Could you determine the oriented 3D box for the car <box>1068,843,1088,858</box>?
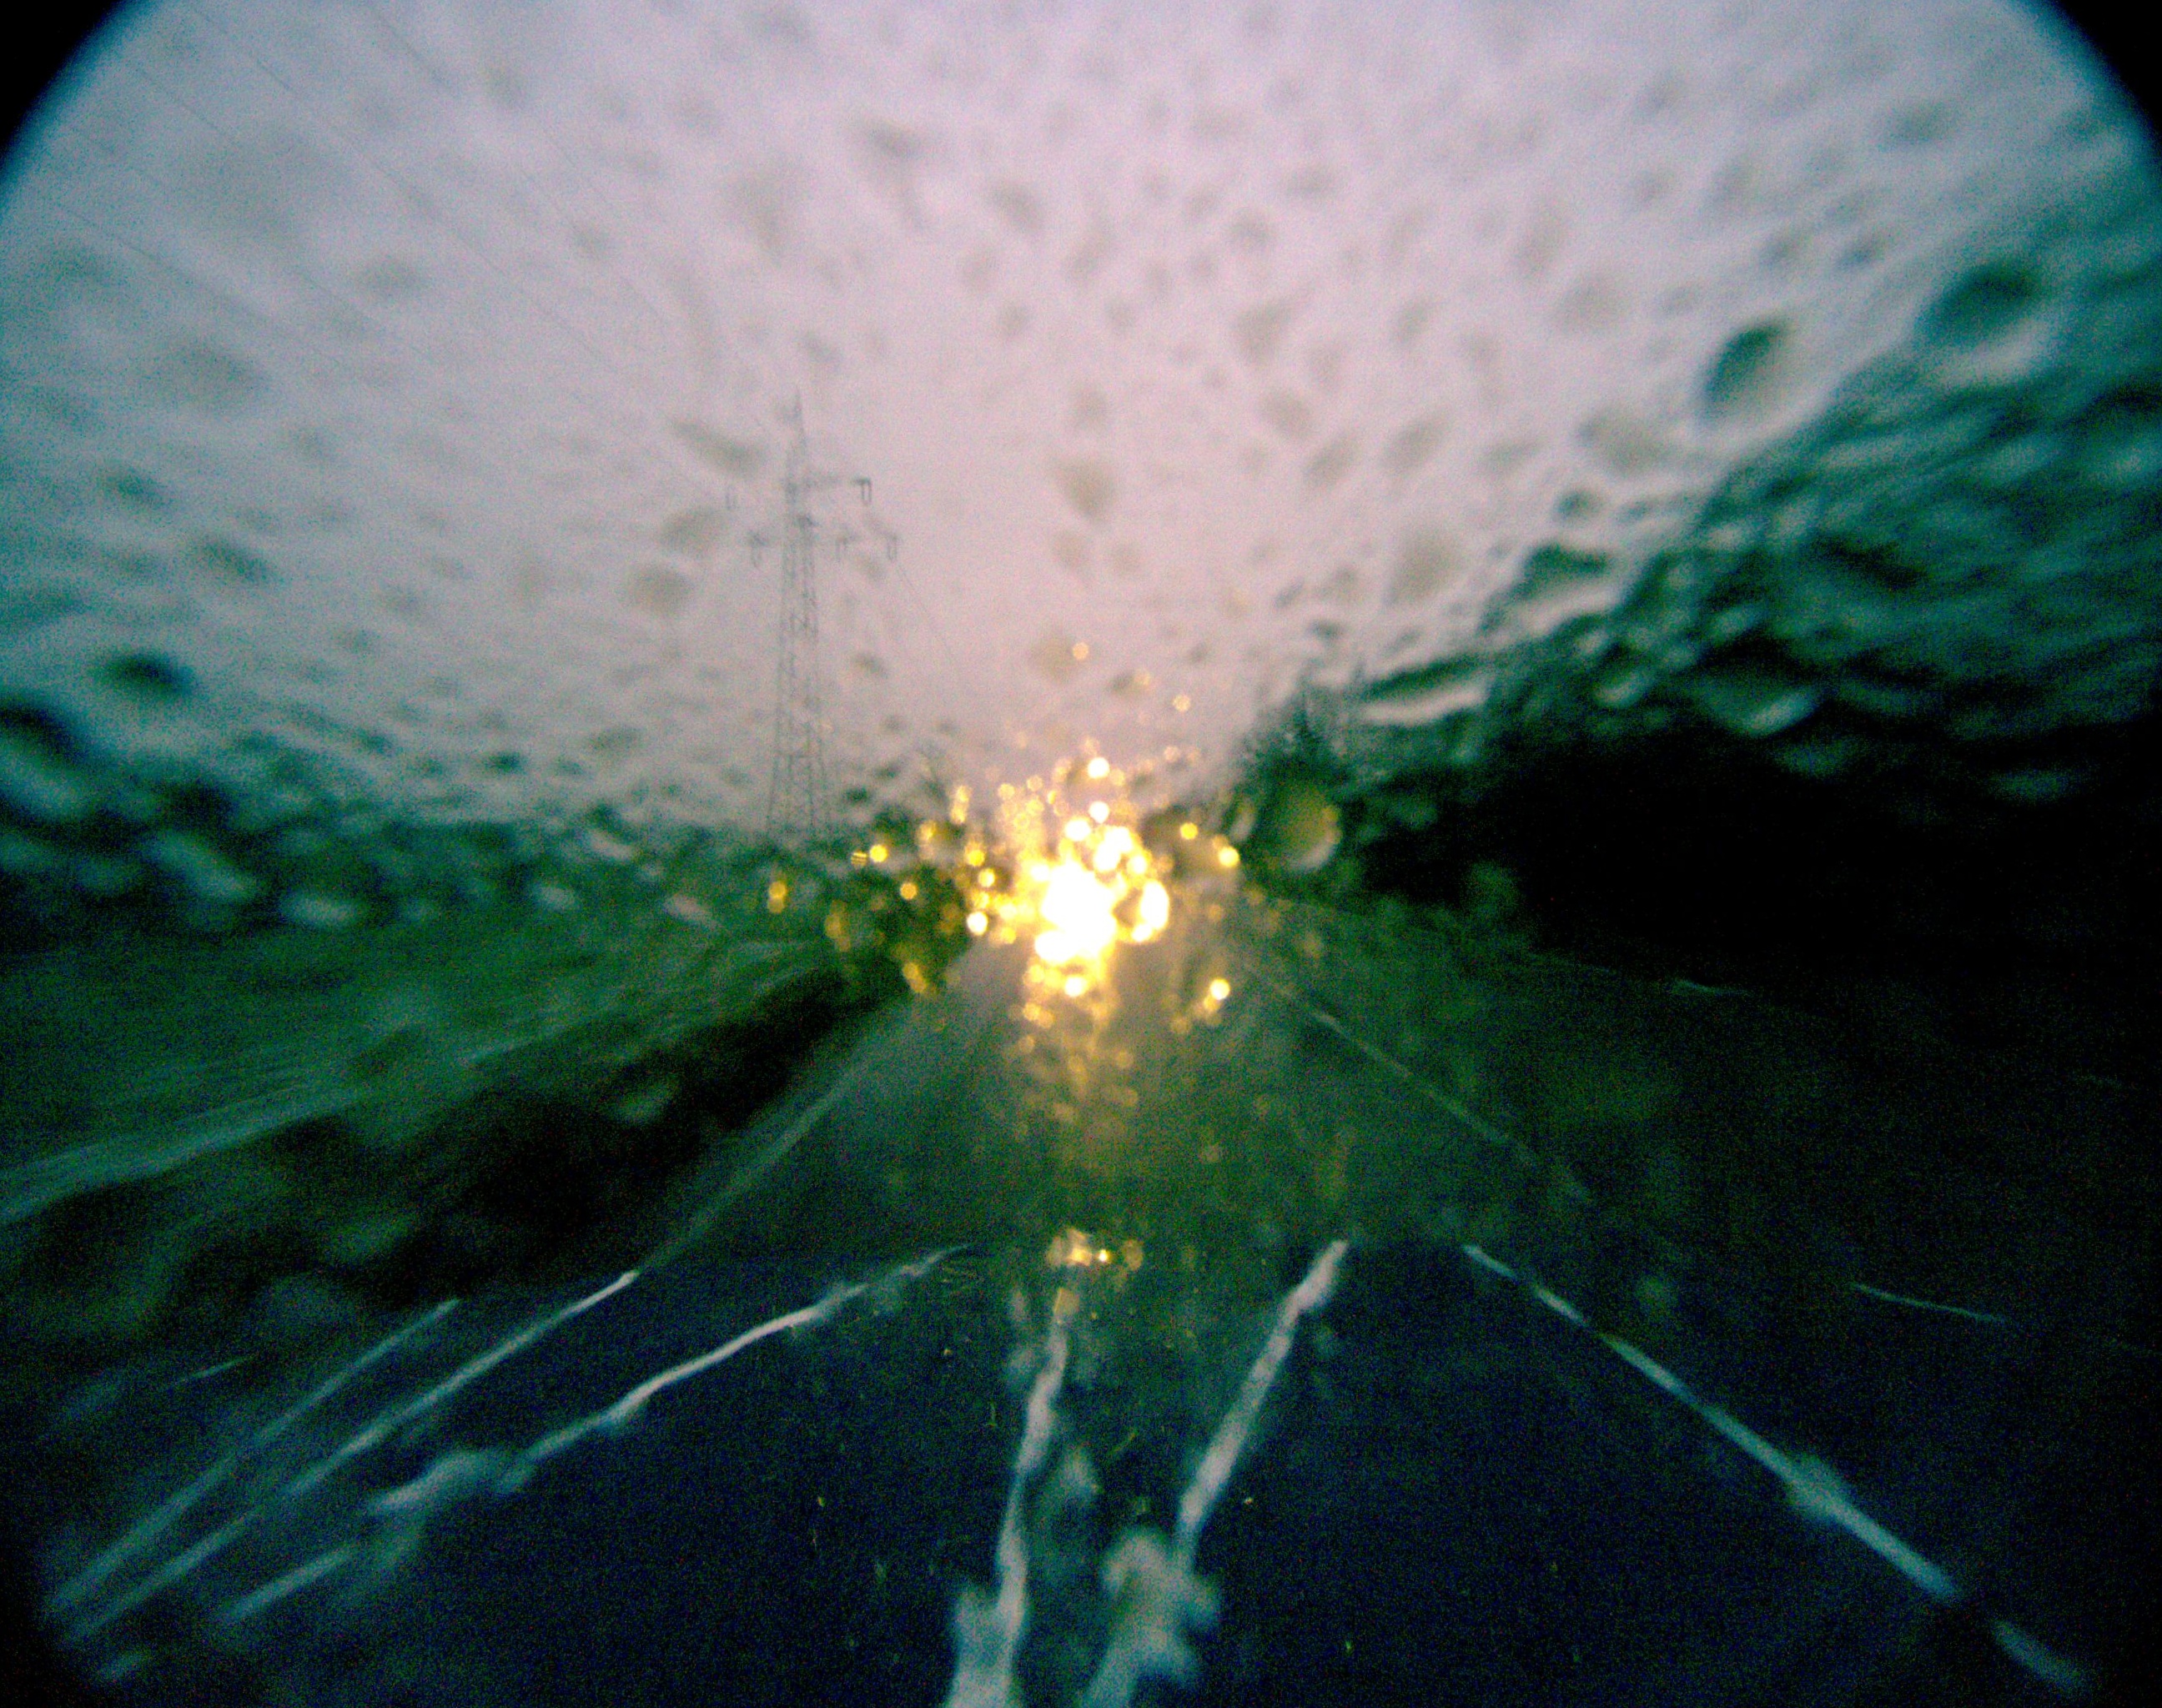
[{"bbox_3d":[-0.417,-0.440,87.543,1.911,1.653,3.997,-3,1,-5],"label":"car"}]

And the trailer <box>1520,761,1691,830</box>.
[{"bbox_3d":[28.980,-3.039,42.886,2.441,2.874,11.088,-1,0,3],"label":"trailer"}]

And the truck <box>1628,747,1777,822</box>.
[{"bbox_3d":[28.639,-3.105,35.352,2.455,2.870,5.585,-1,0,3],"label":"truck"}]

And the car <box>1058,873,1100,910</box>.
[{"bbox_3d":[-0.045,1.807,37.588,1.910,1.652,4.001,-1,0,1],"label":"car"}]
